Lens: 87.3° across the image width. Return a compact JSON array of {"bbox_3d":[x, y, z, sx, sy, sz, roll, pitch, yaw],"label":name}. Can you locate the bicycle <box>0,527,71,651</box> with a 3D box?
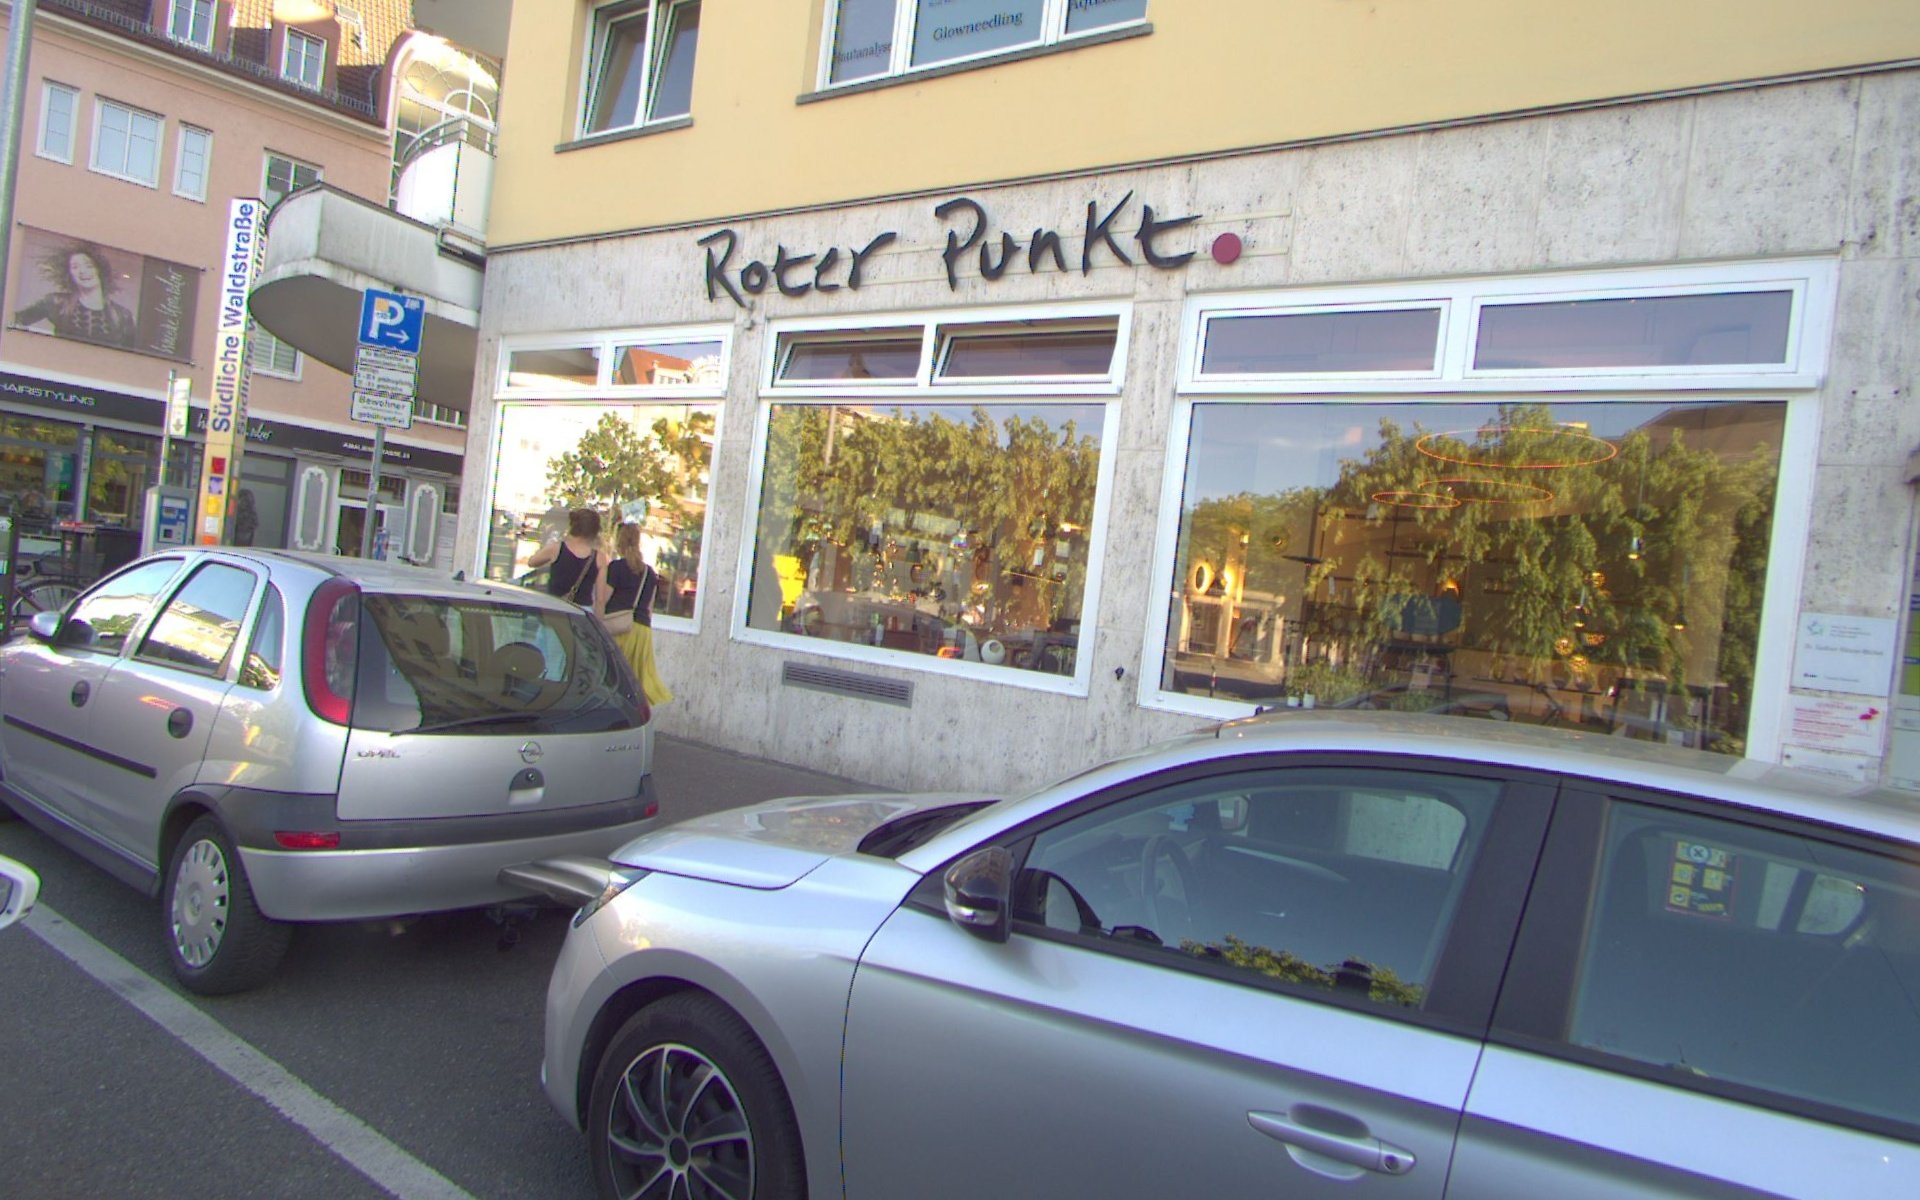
[{"bbox_3d":[-9.084,-0.144,8.801,0.408,1.101,1.872,6,1,35],"label":"bicycle"}]

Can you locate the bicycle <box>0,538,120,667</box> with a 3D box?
[{"bbox_3d":[-8.138,0.000,8.228,0.348,1.051,1.871,6,1,38],"label":"bicycle"}]

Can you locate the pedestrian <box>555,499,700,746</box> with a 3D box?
[{"bbox_3d":[-2.593,0.179,7.841,0.737,1.805,0.562,7,0,-37],"label":"pedestrian"}]

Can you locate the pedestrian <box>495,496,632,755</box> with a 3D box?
[{"bbox_3d":[-2.800,0.179,7.079,0.651,1.685,0.643,7,0,-28],"label":"pedestrian"}]

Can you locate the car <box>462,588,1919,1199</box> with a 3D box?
[{"bbox_3d":[0.764,0.926,2.269,3.598,1.444,1.550,6,-1,30],"label":"car"}]

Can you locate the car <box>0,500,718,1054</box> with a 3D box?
[{"bbox_3d":[-2.925,0.471,4.438,3.419,1.407,1.548,8,0,33],"label":"car"}]
